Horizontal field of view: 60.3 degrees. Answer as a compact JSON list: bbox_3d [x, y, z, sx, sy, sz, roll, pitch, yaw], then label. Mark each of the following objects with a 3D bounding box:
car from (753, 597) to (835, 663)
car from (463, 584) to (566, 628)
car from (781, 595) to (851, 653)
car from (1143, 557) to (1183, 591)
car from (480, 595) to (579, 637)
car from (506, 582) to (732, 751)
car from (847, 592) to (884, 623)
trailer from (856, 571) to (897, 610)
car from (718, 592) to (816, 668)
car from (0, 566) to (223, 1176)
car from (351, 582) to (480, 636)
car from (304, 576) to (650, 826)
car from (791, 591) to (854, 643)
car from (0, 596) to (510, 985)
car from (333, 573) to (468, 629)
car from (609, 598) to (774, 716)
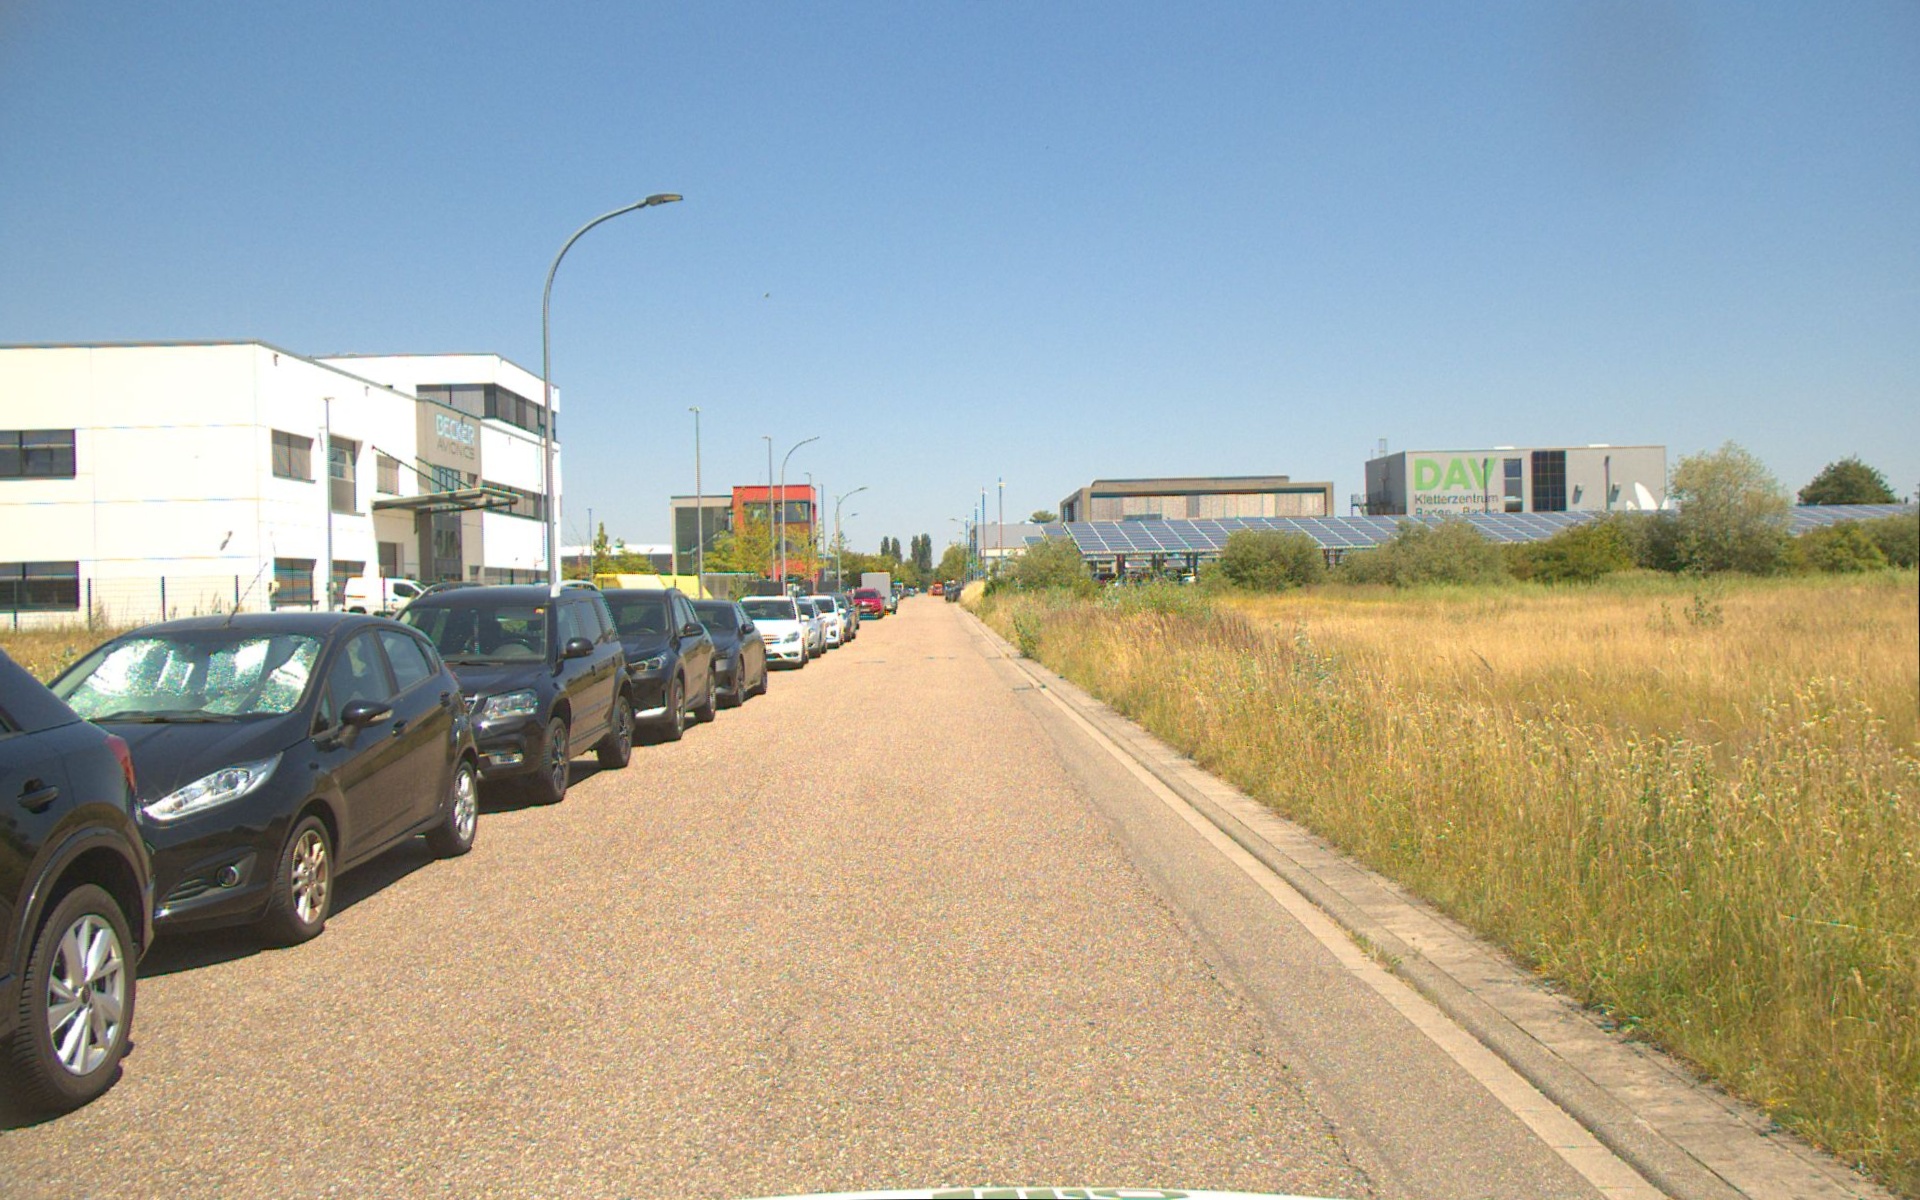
[{"bbox_3d":[-4.276,0.737,43.125,1.750,1.547,3.982,-2,0,-1],"label":"car"},{"bbox_3d":[-21.789,0.288,81.075,4.436,1.977,2.031,-2,0,-1],"label":"car"},{"bbox_3d":[-4.195,0.680,48.767,1.750,1.547,3.982,-2,0,-1],"label":"car"},{"bbox_3d":[12.901,-1.610,105.272,1.953,2.049,3.999,-2,0,-1],"label":"car"},{"bbox_3d":[-21.833,0.813,83.947,4.436,1.977,2.031,-2,0,-1],"label":"car"},{"bbox_3d":[-3.830,0.666,19.360,1.733,1.692,4.551,-2,0,-1],"label":"car"},{"bbox_3d":[-4.871,0.371,85.591,1.750,1.547,3.981,-2,0,-1],"label":"car"},{"bbox_3d":[-4.882,-0.529,97.293,2.156,2.175,4.284,-2,0,-1],"label":"trailer"},{"bbox_3d":[-4.275,0.633,37.115,1.750,1.547,3.982,-2,0,-1],"label":"car"},{"bbox_3d":[-3.449,0.743,3.609,1.888,1.594,4.188,-2,0,-2],"label":"car"},{"bbox_3d":[-21.758,0.337,66.194,4.436,1.977,2.031,-2,0,-1],"label":"car"},{"bbox_3d":[-3.774,0.688,13.702,1.643,1.692,4.235,-2,0,-1],"label":"car"},{"bbox_3d":[-4.436,0.518,53.946,1.750,1.547,3.982,-2,0,-1],"label":"car"},{"bbox_3d":[-3.641,0.775,8.614,1.558,1.518,3.832,-2,0,-1],"label":"car"},{"bbox_3d":[-21.480,0.022,63.615,4.436,1.977,2.031,-2,0,-1],"label":"car"},{"bbox_3d":[-3.947,0.779,25.077,1.733,1.511,5.013,-2,0,-1],"label":"car"}]
